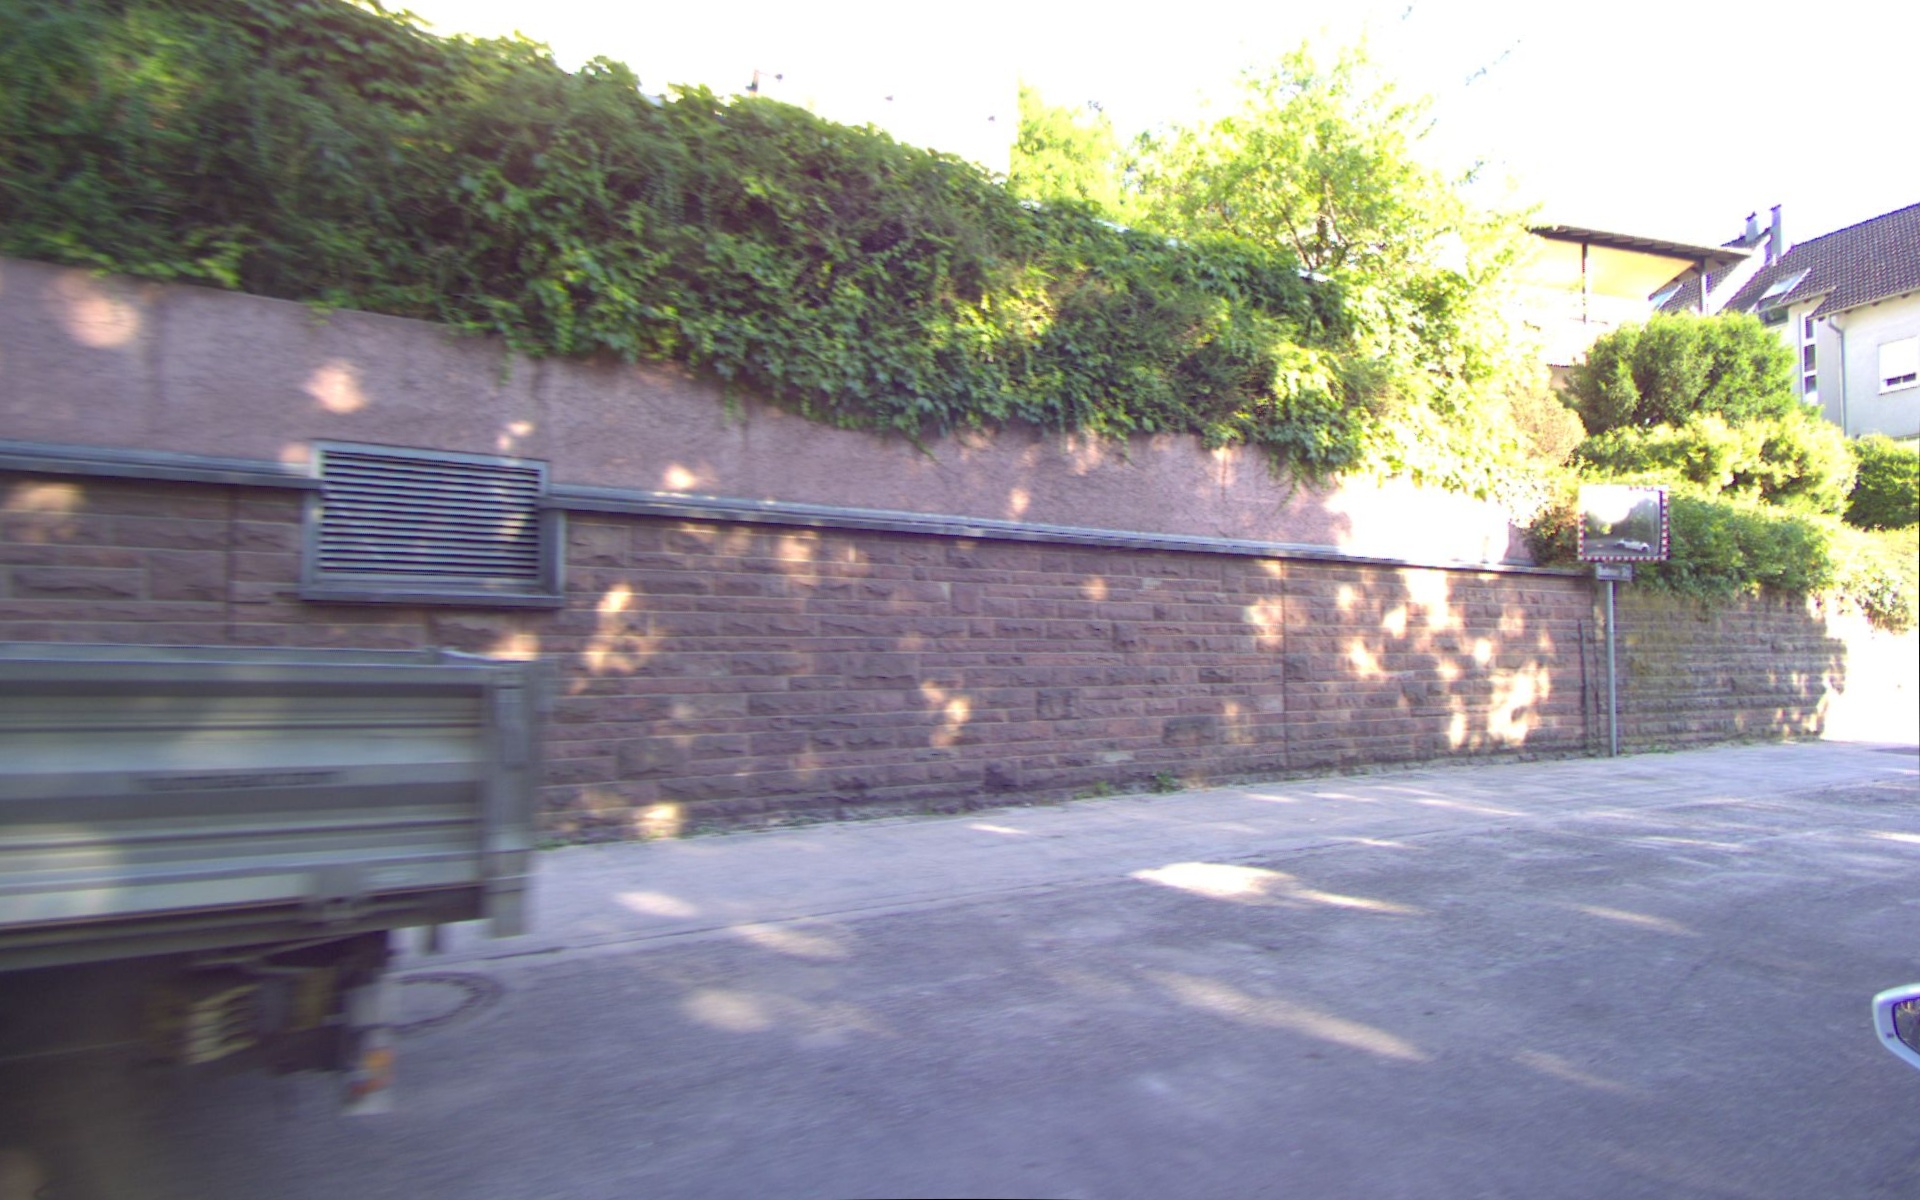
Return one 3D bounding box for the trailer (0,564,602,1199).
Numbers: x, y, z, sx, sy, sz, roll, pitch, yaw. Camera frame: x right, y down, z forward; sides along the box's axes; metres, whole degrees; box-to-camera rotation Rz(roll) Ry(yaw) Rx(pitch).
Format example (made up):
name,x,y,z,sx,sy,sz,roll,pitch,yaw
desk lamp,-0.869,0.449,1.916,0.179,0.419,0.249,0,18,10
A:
name,x,y,z,sx,sy,sz,roll,pitch,yaw
trailer,-4.558,0.619,1.714,7.041,1.509,2.625,2,-2,-32
